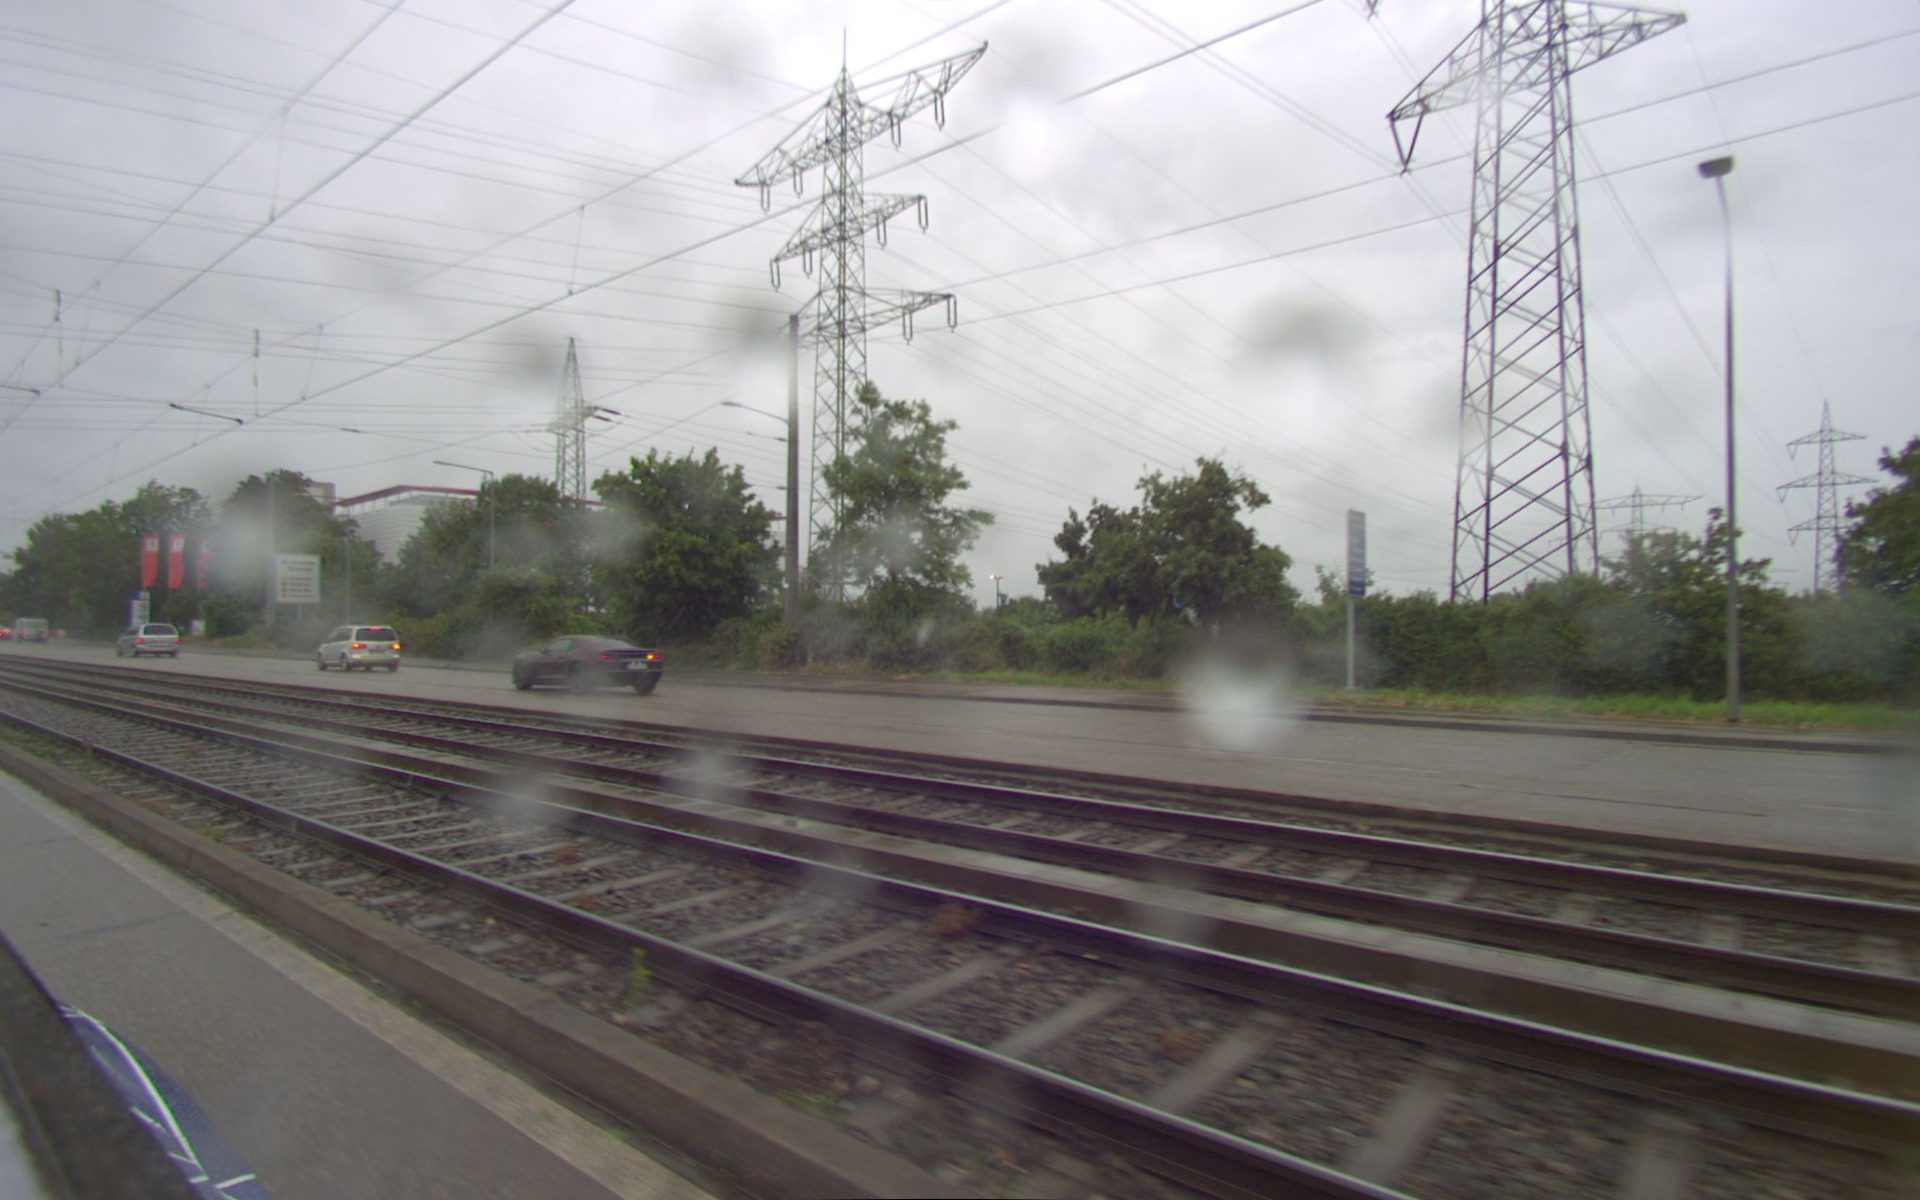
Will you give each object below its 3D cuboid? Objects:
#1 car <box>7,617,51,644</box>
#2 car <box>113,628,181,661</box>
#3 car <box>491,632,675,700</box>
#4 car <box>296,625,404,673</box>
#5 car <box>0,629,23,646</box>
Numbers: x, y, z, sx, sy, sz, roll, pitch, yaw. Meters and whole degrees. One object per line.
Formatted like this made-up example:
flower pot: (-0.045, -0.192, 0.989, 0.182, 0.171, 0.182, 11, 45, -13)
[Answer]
car: (-86.826, 2.842, 94.347, 5.977, 2.316, 2.129, -3, -6, 40)
car: (-43.101, 2.348, 53.587, 5.131, 1.647, 1.807, -3, -1, 40)
car: (-9.144, 1.563, 24.325, 5.250, 1.475, 1.972, -3, -5, 43)
car: (-22.428, 1.784, 37.135, 5.061, 1.586, 1.824, -3, -1, 40)
car: (-97.850, 3.870, 103.814, 4.725, 1.653, 1.877, -3, -1, 39)
